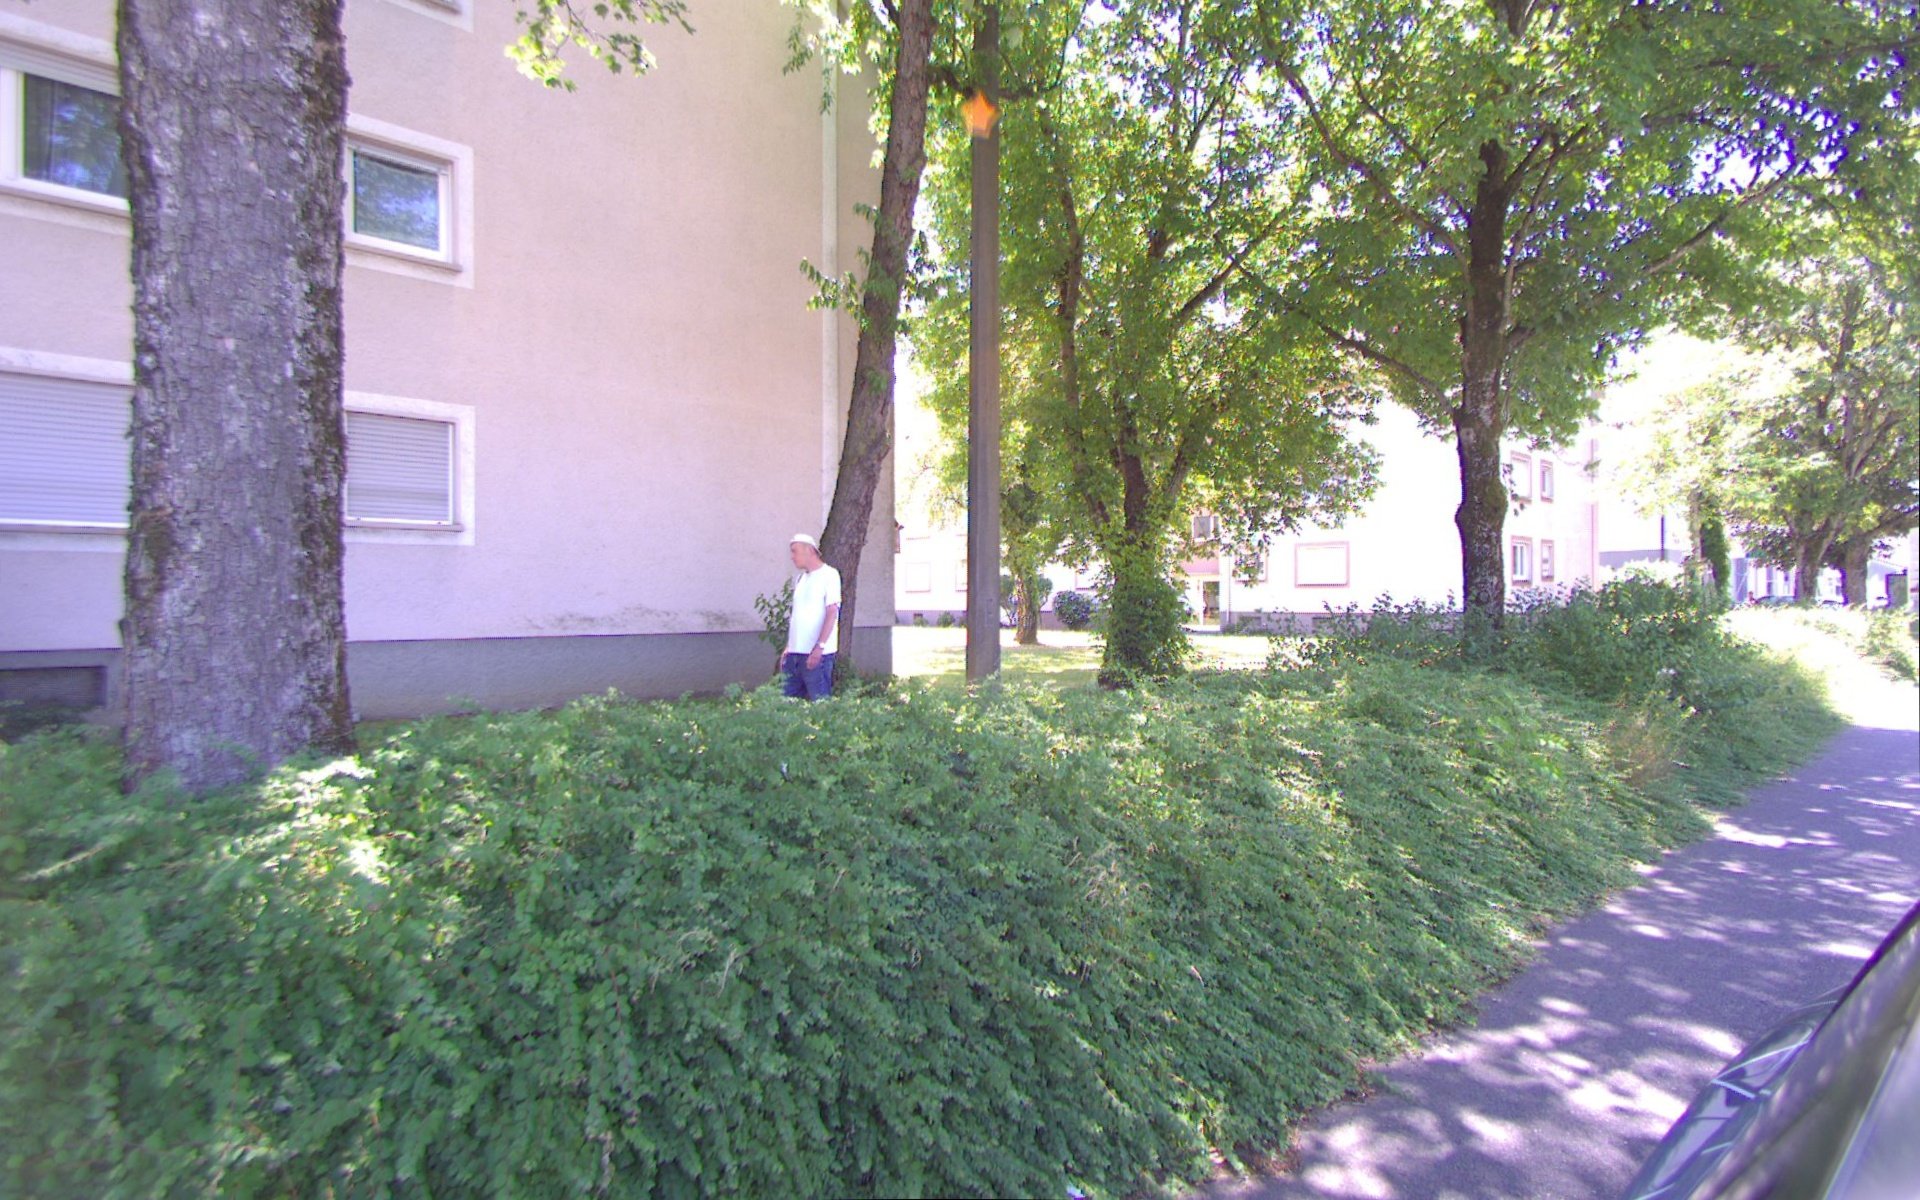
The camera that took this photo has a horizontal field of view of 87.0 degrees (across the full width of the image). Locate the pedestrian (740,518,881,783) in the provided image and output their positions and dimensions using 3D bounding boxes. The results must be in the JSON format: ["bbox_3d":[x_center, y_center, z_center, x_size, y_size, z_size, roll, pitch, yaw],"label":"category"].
[{"bbox_3d":[-1.138,0.356,7.808,0.668,1.897,0.894,-1,0,28],"label":"pedestrian"}]
